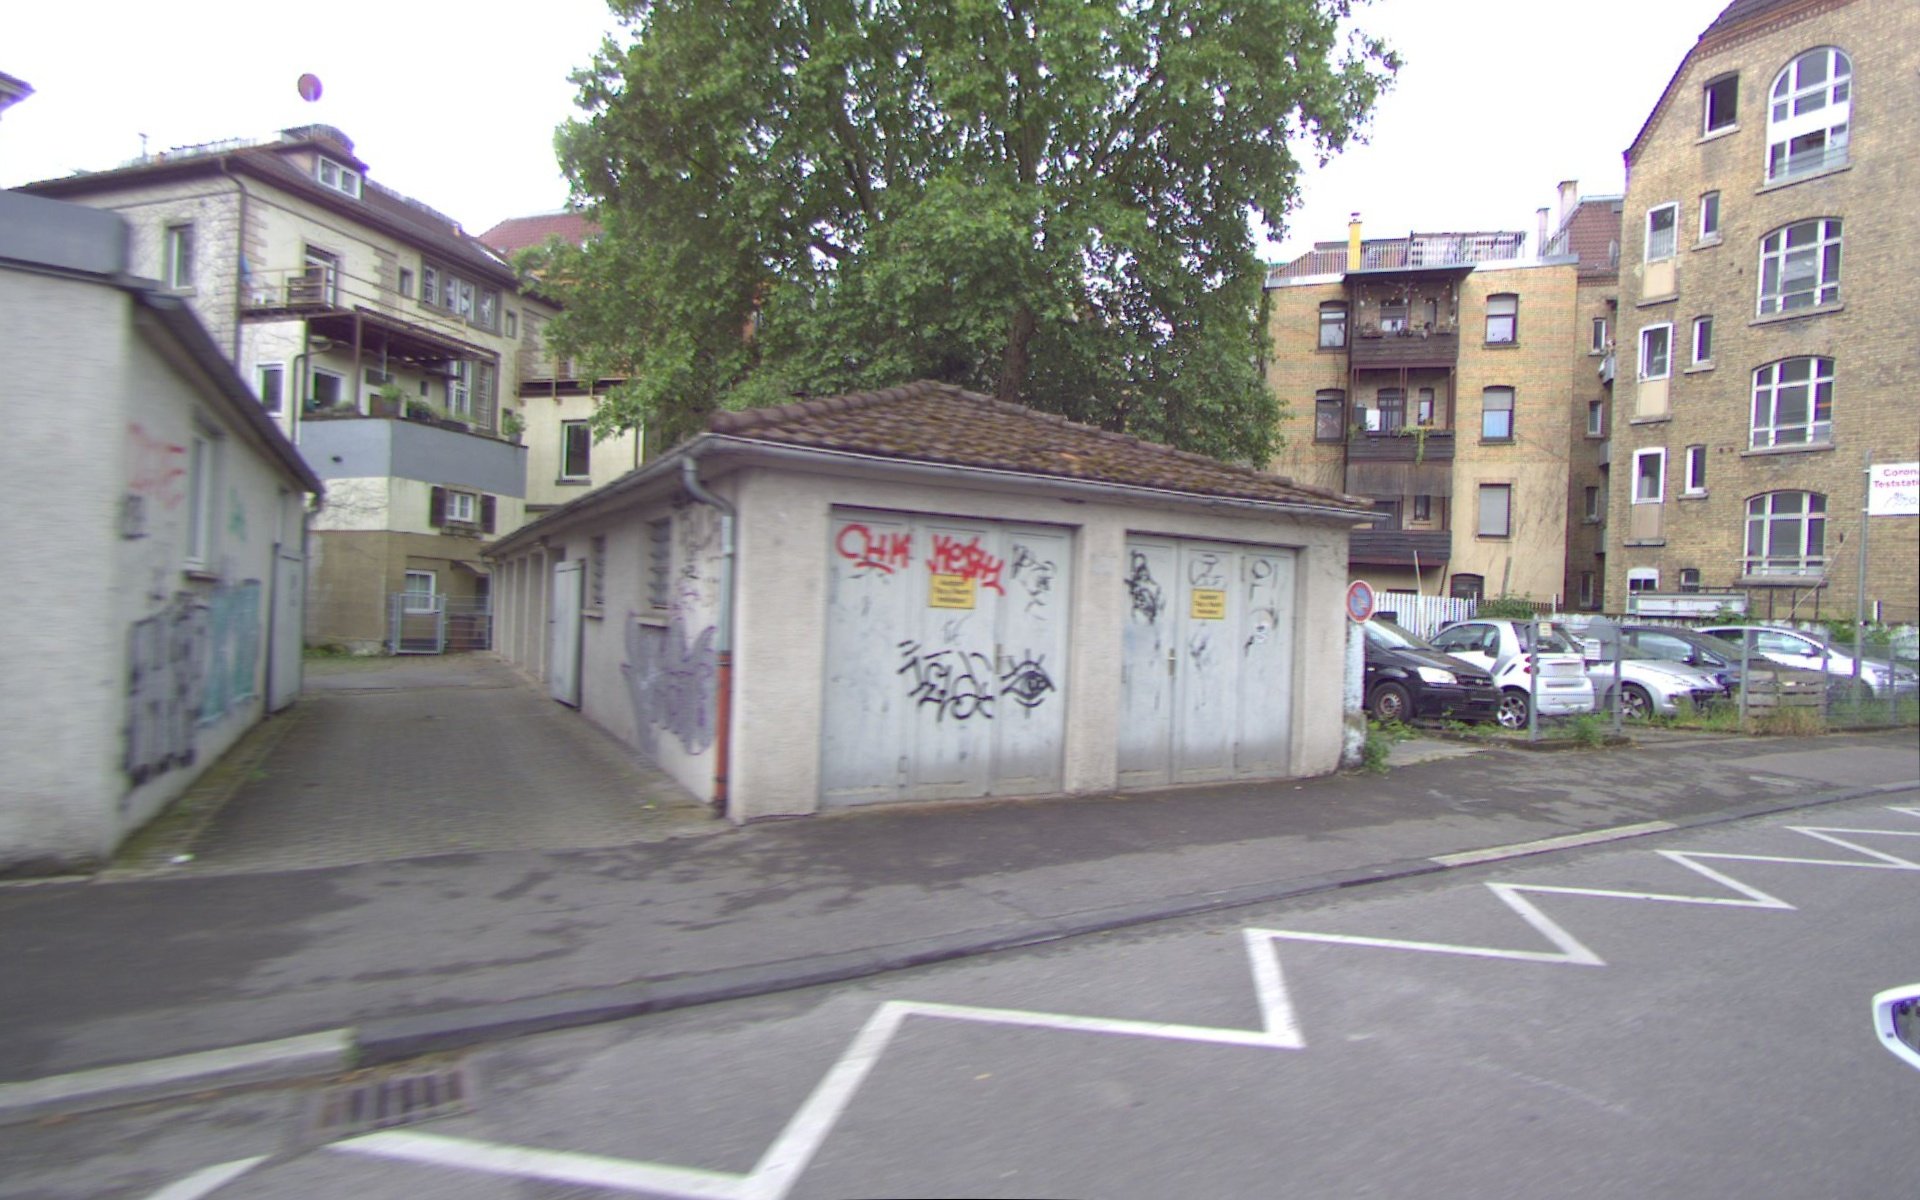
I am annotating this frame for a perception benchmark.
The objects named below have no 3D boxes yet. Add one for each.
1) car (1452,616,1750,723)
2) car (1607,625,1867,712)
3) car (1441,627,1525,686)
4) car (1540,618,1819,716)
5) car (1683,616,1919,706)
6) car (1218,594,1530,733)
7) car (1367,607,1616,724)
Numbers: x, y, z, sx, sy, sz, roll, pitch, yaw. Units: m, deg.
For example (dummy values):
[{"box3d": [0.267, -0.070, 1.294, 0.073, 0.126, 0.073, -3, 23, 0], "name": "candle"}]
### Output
[{"box3d": [10.332, 1.057, 16.466, 1.830, 1.524, 3.708, 2, -2, -28], "name": "car"}, {"box3d": [14.486, 1.221, 18.922, 1.528, 1.433, 3.581, 2, -2, -28], "name": "car"}, {"box3d": [14.030, 1.446, 26.886, 1.648, 1.391, 3.501, 1, 0, 33], "name": "car"}, {"box3d": [12.551, 1.114, 17.729, 1.830, 1.524, 3.581, 2, -2, -28], "name": "car"}, {"box3d": [16.995, 1.166, 20.250, 1.668, 1.633, 3.581, 2, -2, -28], "name": "car"}, {"box3d": [5.629, 0.817, 14.095, 1.830, 1.665, 3.747, 2, -2, -28], "name": "car"}, {"box3d": [7.999, 0.933, 15.304, 1.830, 1.585, 2.835, 2, -2, -28], "name": "car"}]
